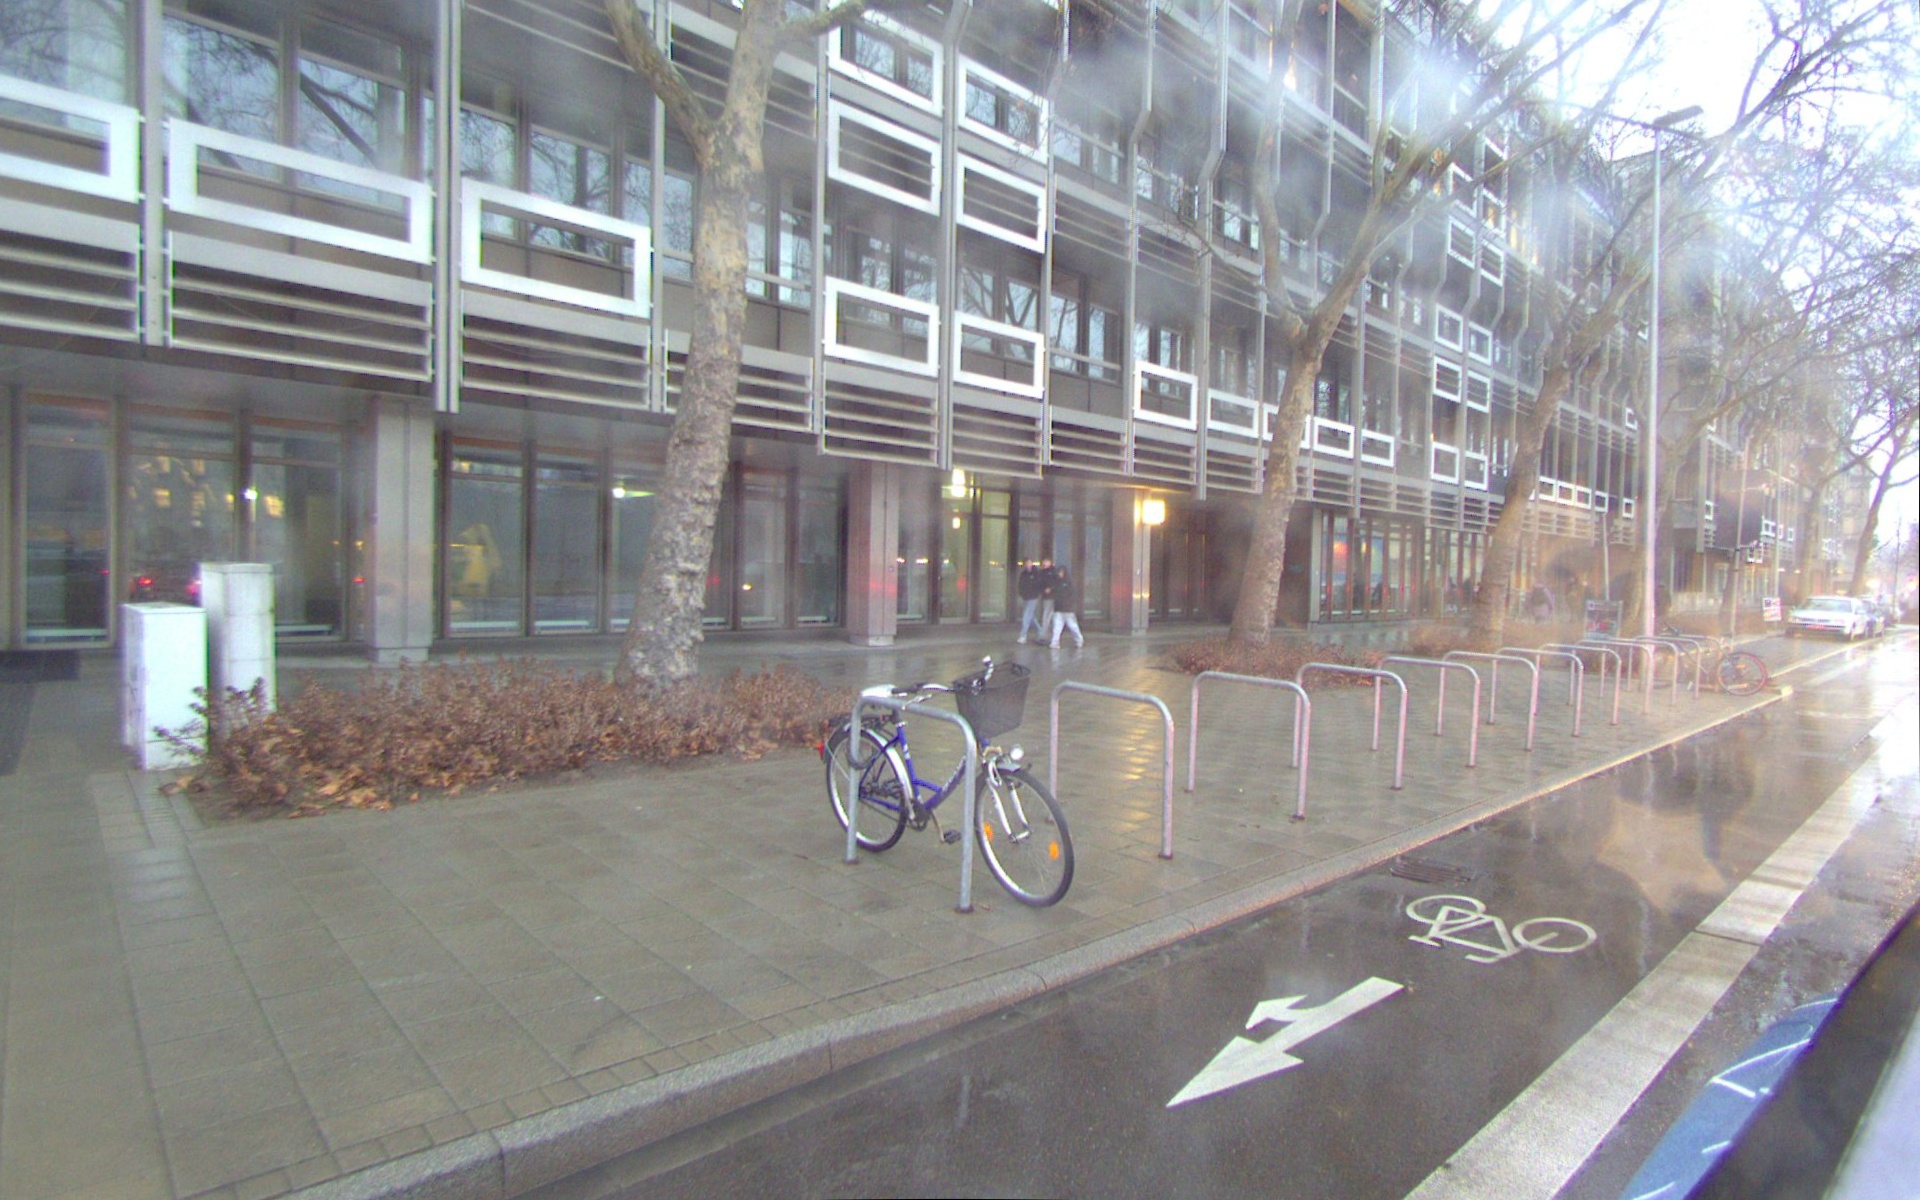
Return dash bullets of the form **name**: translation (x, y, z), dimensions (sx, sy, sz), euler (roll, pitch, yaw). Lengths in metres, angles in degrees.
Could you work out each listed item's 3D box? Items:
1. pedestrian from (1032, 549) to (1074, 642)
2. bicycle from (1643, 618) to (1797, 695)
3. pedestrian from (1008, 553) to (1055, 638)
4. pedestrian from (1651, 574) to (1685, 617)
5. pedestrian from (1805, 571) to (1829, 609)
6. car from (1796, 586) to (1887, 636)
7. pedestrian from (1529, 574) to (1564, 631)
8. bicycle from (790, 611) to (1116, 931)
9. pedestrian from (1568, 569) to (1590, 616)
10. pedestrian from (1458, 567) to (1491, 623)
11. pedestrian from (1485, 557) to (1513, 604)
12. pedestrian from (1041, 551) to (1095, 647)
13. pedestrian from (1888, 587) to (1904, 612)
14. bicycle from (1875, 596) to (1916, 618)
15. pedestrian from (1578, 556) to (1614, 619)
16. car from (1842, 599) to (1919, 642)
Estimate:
- **pedestrian**: translation (1.721, -0.094, 18.698), dimensions (0.701, 1.689, 0.379), euler (0, 1, -41)
- **bicycle**: translation (11.654, 0.841, 15.568), dimensions (0.607, 0.986, 1.789), euler (0, 3, -45)
- **pedestrian**: translation (1.348, -0.092, 19.123), dimensions (0.733, 1.583, 0.484), euler (0, 1, -42)
- **pedestrian**: translation (26.175, -0.168, 37.404), dimensions (0.824, 1.543, 0.865), euler (0, 2, -44)
- **pedestrian**: translation (46.116, -0.551, 54.471), dimensions (1.007, 2.039, 0.790), euler (0, 1, -41)
- **car**: translation (29.428, 0.329, 33.753), dimensions (3.859, 1.449, 1.609), euler (0, 4, -39)
- **pedestrian**: translation (16.624, 0.060, 28.698), dimensions (0.604, 1.563, 0.649), euler (0, 1, -40)
- **bicycle**: translation (-0.112, 0.698, 4.840), dimensions (0.428, 1.162, 1.752), euler (0, 4, -44)
- **pedestrian**: translation (22.513, -0.280, 36.828), dimensions (0.636, 1.675, 0.834), euler (2, 1, 30)
- **pedestrian**: translation (15.750, -0.160, 30.969), dimensions (0.767, 1.677, 0.617), euler (0, 1, -41)
- **pedestrian**: translation (16.195, -0.582, 30.407), dimensions (0.492, 1.386, 0.495), euler (1, 1, -13)
- **pedestrian**: translation (1.951, -0.024, 18.275), dimensions (0.858, 1.689, 0.501), euler (0, 2, -41)
- **pedestrian**: translation (76.349, -0.071, 82.552), dimensions (0.758, 2.039, 0.837), euler (-1, 0, -42)
- **bicycle**: translation (47.006, 0.337, 50.871), dimensions (1.518, 1.049, 0.462), euler (0, 1, 42)
- **pedestrian**: translation (21.059, -0.427, 33.513), dimensions (0.723, 2.039, 0.821), euler (0, 1, -43)
- **car**: translation (35.369, 0.731, 38.650), dimensions (3.930, 1.504, 1.997), euler (-1, 1, -41)
